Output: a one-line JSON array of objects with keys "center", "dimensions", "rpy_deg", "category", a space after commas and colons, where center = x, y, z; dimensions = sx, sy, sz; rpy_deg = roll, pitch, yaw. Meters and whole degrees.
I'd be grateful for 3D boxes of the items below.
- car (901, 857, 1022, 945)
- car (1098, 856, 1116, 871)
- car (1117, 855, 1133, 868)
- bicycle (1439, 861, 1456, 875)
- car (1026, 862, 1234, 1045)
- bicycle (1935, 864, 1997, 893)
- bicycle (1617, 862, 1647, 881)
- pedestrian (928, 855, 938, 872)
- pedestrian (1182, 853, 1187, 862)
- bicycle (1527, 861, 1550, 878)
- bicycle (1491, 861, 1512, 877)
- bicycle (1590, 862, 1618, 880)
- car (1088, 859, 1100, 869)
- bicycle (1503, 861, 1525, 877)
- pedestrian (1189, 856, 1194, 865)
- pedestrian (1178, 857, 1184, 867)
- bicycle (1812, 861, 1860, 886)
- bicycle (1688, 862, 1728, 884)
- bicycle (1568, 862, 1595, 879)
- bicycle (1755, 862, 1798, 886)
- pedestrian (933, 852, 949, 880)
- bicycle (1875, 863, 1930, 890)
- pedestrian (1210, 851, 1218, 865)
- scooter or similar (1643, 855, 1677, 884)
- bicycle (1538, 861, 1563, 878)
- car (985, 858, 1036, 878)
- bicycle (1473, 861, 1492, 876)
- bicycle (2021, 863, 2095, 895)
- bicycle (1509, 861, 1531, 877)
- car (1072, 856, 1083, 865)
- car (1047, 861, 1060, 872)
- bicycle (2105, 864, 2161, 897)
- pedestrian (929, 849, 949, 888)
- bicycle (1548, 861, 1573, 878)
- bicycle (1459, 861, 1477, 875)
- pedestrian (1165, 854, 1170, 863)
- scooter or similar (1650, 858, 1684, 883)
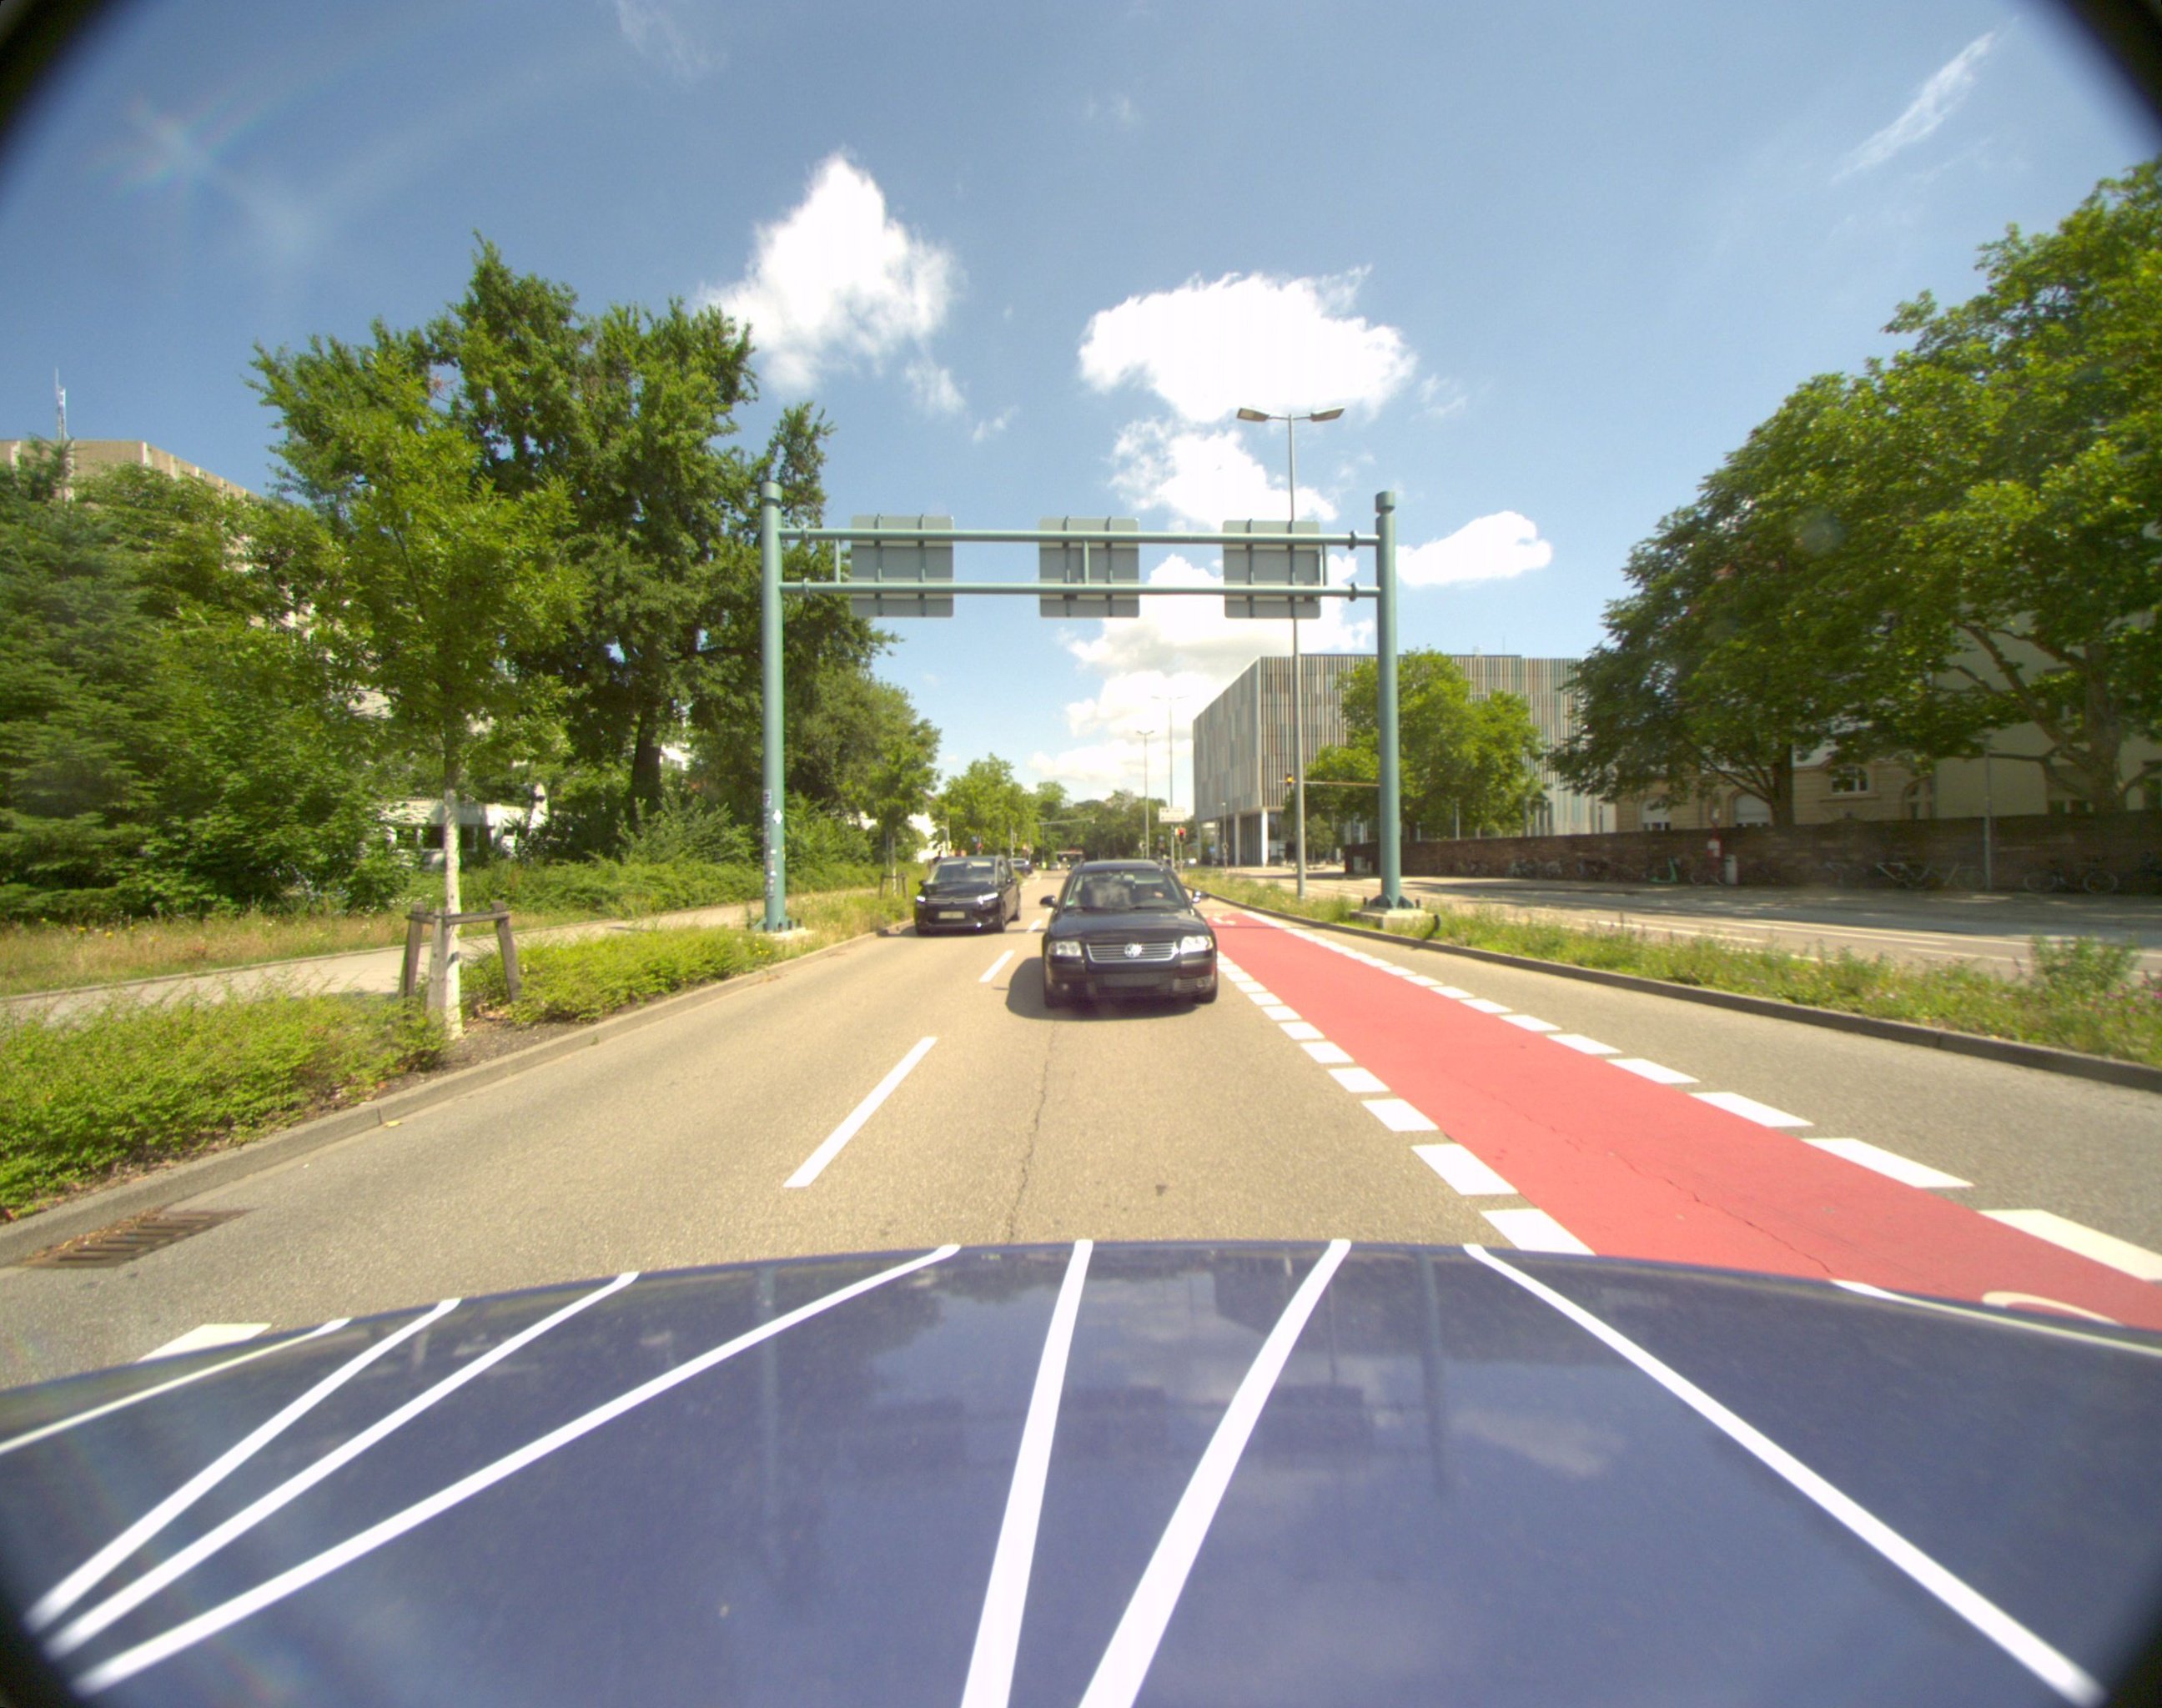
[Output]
[{"center": [-2.443, 0.905, 16.672], "dimensions": [1.816, 1.598, 4.479], "rpy_deg": [-3, 0, 1], "category": "car"}, {"center": [2.815, 0.998, 83.182], "dimensions": [1.723, 1.545, 4.594], "rpy_deg": [-3, 0, 1], "category": "car"}, {"center": [6.260, 1.076, 107.975], "dimensions": [1.999, 1.701, 4.512], "rpy_deg": [-1, 0, -1], "category": "car"}, {"center": [22.485, 0.845, 46.660], "dimensions": [0.265, 0.826, 1.235], "rpy_deg": [-1, 0, -11], "category": "bicycle"}, {"center": [0.454, 0.886, 8.855], "dimensions": [1.723, 1.472, 4.594], "rpy_deg": [-3, 0, 1], "category": "car"}, {"center": [26.239, 0.722, 22.540], "dimensions": [0.265, 0.826, 1.235], "rpy_deg": [-1, 0, -11], "category": "bicycle"}, {"center": [24.143, 0.772, 33.307], "dimensions": [0.265, 0.826, 1.235], "rpy_deg": [-1, 0, -11], "category": "bicycle"}, {"center": [-13.964, 0.885, 71.755], "dimensions": [0.765, 1.601, 0.767], "rpy_deg": [-1, 0, -5], "category": "pedestrian"}, {"center": [17.660, 0.604, 129.770], "dimensions": [0.696, 1.445, 0.689], "rpy_deg": [-1, 0, 5], "category": "pedestrian"}, {"center": [23.464, 0.789, 39.008], "dimensions": [0.265, 0.826, 1.235], "rpy_deg": [-1, 0, -11], "category": "bicycle"}, {"center": [23.148, 0.819, 41.814], "dimensions": [0.265, 0.826, 1.234], "rpy_deg": [-1, 0, -11], "category": "bicycle"}, {"center": [24.027, 0.784, 34.915], "dimensions": [0.265, 0.826, 1.235], "rpy_deg": [-1, 0, -11], "category": "bicycle"}, {"center": [2.034, 1.527, 116.107], "dimensions": [1.806, 1.361, 4.157], "rpy_deg": [-1, 1, 1], "category": "car"}, {"center": [22.848, 0.809, 40.095], "dimensions": [0.265, 0.826, 1.234], "rpy_deg": [-1, 0, -11], "category": "bicycle"}, {"center": [18.351, 1.021, 126.453], "dimensions": [0.696, 1.445, 0.689], "rpy_deg": [-1, 0, 3], "category": "pedestrian"}, {"center": [14.881, 1.180, 112.710], "dimensions": [0.697, 1.445, 0.688], "rpy_deg": [-1, 0, -6], "category": "pedestrian"}, {"center": [25.680, 0.643, 25.862], "dimensions": [0.265, 0.826, 1.235], "rpy_deg": [-1, 0, -11], "category": "bicycle"}, {"center": [24.815, 0.741, 30.091], "dimensions": [0.265, 0.826, 1.233], "rpy_deg": [-1, 0, -21], "category": "bicycle"}, {"center": [23.848, 0.781, 36.207], "dimensions": [0.265, 0.826, 1.235], "rpy_deg": [-1, 0, -11], "category": "bicycle"}, {"center": [25.185, 0.708, 27.531], "dimensions": [0.265, 0.826, 1.235], "rpy_deg": [-1, 0, -11], "category": "bicycle"}, {"center": [-10.313, 0.860, 55.789], "dimensions": [0.847, 2.026, 0.899], "rpy_deg": [-1, 0, -32], "category": "pedestrian"}, {"center": [25.972, 0.701, 24.049], "dimensions": [0.265, 0.826, 1.235], "rpy_deg": [-1, 0, -11], "category": "bicycle"}, {"center": [18.543, 0.584, 105.781], "dimensions": [0.864, 2.002, 0.995], "rpy_deg": [-1, 0, -1], "category": "pedestrian"}, {"center": [23.797, 0.624, 31.230], "dimensions": [0.265, 1.182, 1.234], "rpy_deg": [-1, 0, -11], "category": "scooter or similar"}, {"center": [23.181, 0.751, 37.537], "dimensions": [0.265, 0.826, 1.234], "rpy_deg": [-1, 0, -11], "category": "bicycle"}, {"center": [-6.507, 1.250, 69.902], "dimensions": [4.478, 1.598, 1.817], "rpy_deg": [-3, 0, -7], "category": "car"}, {"center": [22.959, 0.815, 43.448], "dimensions": [0.265, 0.826, 1.234], "rpy_deg": [-1, 0, -11], "category": "bicycle"}, {"center": [26.645, 0.670, 20.748], "dimensions": [0.265, 0.826, 1.234], "rpy_deg": [-1, 0, -13], "category": "bicycle"}, {"center": [23.355, 0.791, 40.419], "dimensions": [0.265, 0.826, 1.234], "rpy_deg": [-1, 0, -11], "category": "bicycle"}, {"center": [-0.594, 1.127, 129.992], "dimensions": [1.806, 1.361, 4.157], "rpy_deg": [-1, 1, 1], "category": "car"}, {"center": [-4.340, 1.954, 122.141], "dimensions": [1.816, 1.598, 4.479], "rpy_deg": [-3, 0, 1], "category": "car"}, {"center": [27.125, 0.673, 19.357], "dimensions": [0.265, 0.826, 1.234], "rpy_deg": [-1, 0, -13], "category": "bicycle"}, {"center": [-6.395, 0.648, 34.251], "dimensions": [0.639, 1.754, 0.887], "rpy_deg": [-1, 0, 5], "category": "pedestrian"}, {"center": [23.659, 0.750, 37.479], "dimensions": [0.265, 0.826, 1.235], "rpy_deg": [-1, 0, -11], "category": "bicycle"}, {"center": [22.800, 0.833, 44.775], "dimensions": [0.265, 0.826, 1.235], "rpy_deg": [-1, 0, -11], "category": "bicycle"}, {"center": [15.842, 0.848, 138.936], "dimensions": [0.864, 1.647, 0.995], "rpy_deg": [-1, 0, -1], "category": "pedestrian"}, {"center": [24.571, 0.676, 31.861], "dimensions": [0.266, 1.014, 1.140], "rpy_deg": [-1, 0, -22], "category": "scooter or similar"}]
